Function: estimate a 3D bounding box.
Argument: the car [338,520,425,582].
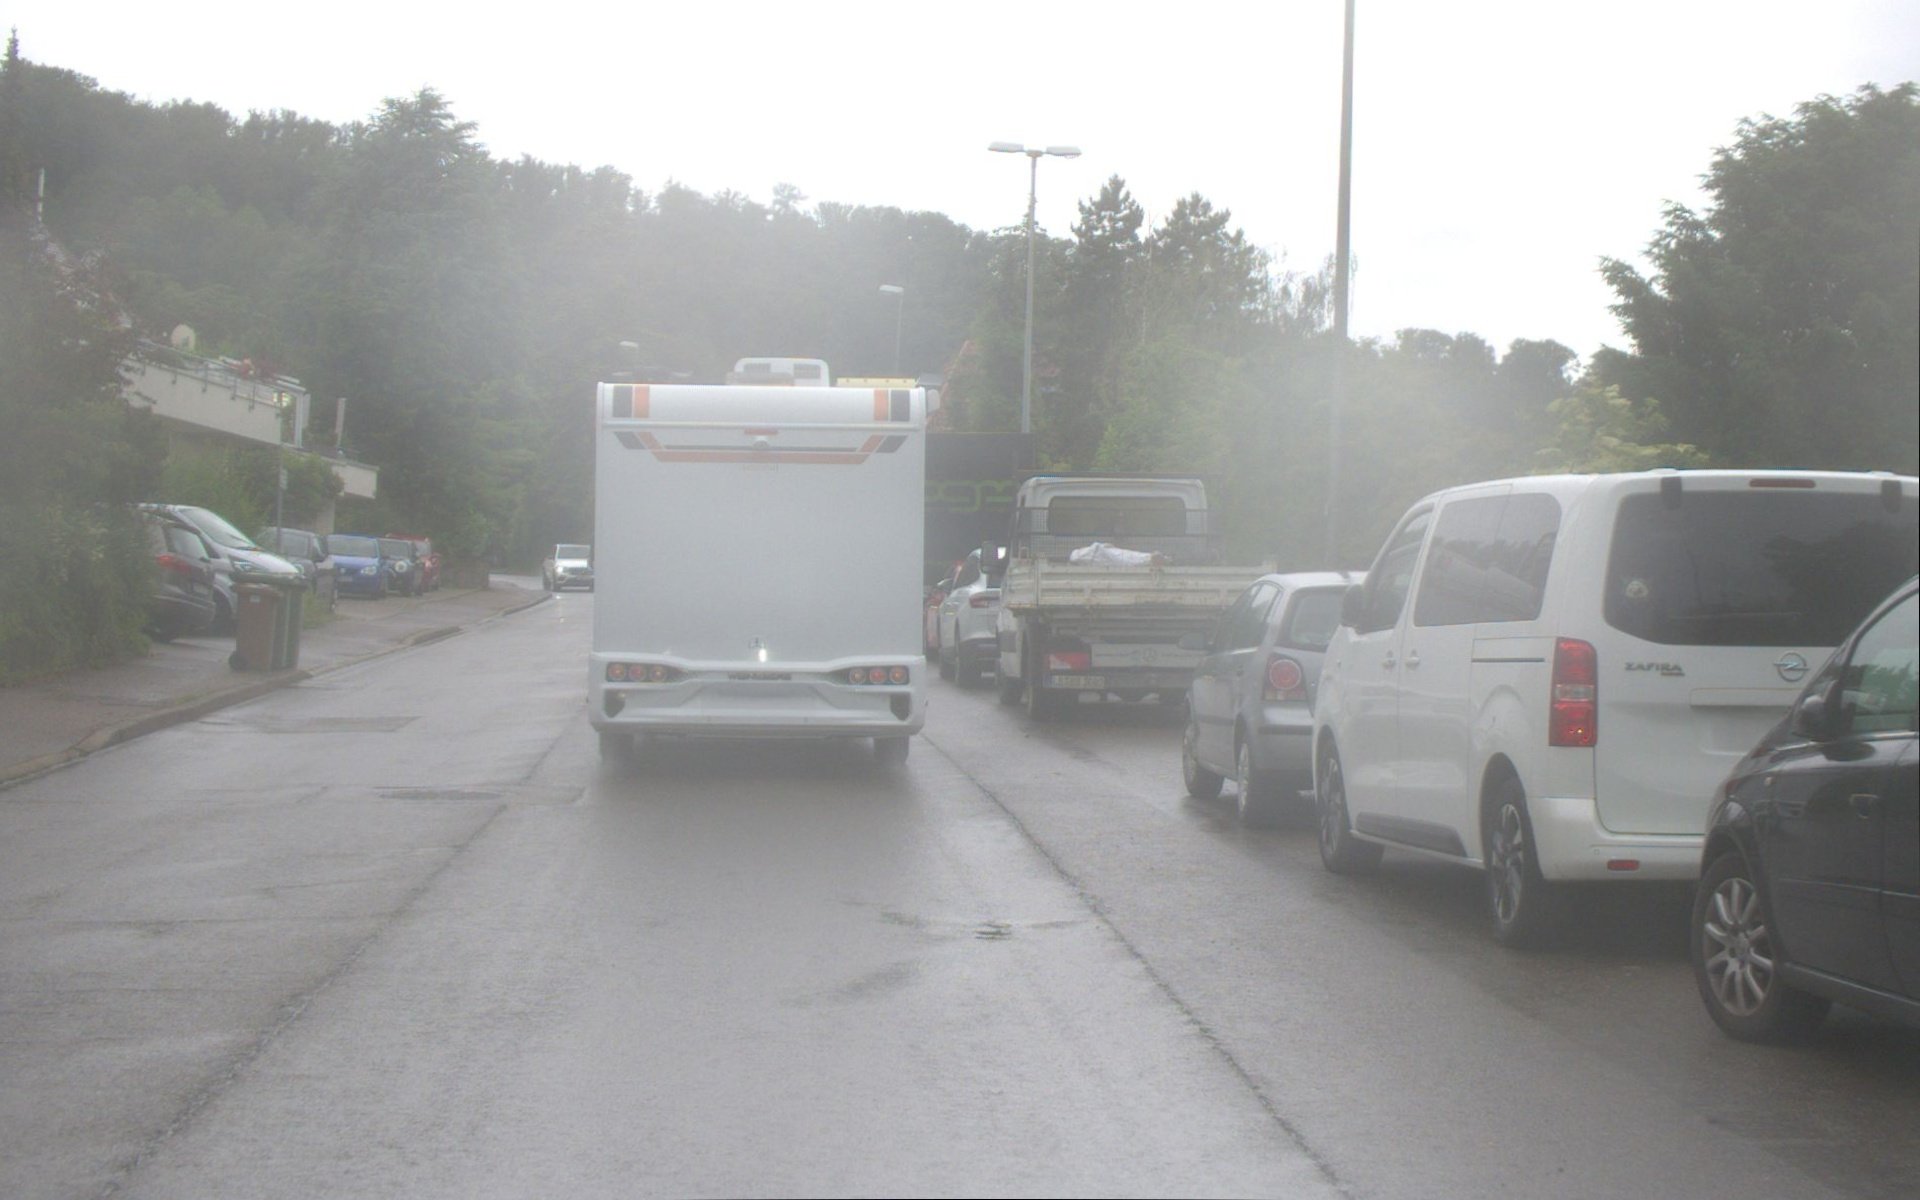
[{"bbox_3d":[-14.526,-1.232,86.484,1.633,1.391,4.239,5,0,-4],"label":"car"}]

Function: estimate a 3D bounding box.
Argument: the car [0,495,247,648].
[{"bbox_3d":[-11.381,-0.414,43.608,4.056,1.686,1.893,5,0,10],"label":"car"}]

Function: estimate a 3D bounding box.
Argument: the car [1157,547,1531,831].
[{"bbox_3d":[2.231,0.477,20.925,1.647,1.558,3.964,0,0,-3],"label":"car"}]

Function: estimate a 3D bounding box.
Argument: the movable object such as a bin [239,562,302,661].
[{"bbox_3d":[-7.636,0.122,38.090,0.602,1.060,0.638,2,1,-8],"label":"movable object such as a bin"}]

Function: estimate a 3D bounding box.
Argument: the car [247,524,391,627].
[{"bbox_3d":[-11.511,-0.462,61.976,1.689,1.583,4.197,8,1,-1],"label":"car"}]

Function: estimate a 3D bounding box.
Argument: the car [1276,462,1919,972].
[{"bbox_3d":[2.805,0.420,15.181,1.848,1.875,4.912,0,0,-6],"label":"car"}]

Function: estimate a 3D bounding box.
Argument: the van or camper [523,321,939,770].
[{"bbox_3d":[-1.679,-0.314,25.631,2.615,2.843,6.031,2,-1,-3],"label":"van or camper"}]

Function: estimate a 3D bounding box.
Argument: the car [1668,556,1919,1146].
[{"bbox_3d":[3.304,0.656,9.345,1.644,1.535,4.354,0,0,-3],"label":"car"}]

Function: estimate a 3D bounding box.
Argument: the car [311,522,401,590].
[{"bbox_3d":[-14.102,-1.049,80.465,1.607,1.429,3.960,5,1,-5],"label":"car"}]

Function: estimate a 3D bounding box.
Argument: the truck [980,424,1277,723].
[{"bbox_3d":[1.504,-0.250,33.572,2.239,2.622,6.539,0,0,-3],"label":"truck"}]

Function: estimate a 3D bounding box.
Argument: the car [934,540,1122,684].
[{"bbox_3d":[0.738,0.121,40.691,1.759,1.599,4.667,0,0,-5],"label":"car"}]

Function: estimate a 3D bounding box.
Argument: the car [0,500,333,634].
[{"bbox_3d":[-12.282,-0.507,51.951,5.087,1.938,2.140,1,0,13],"label":"car"}]

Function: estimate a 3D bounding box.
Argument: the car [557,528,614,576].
[{"bbox_3d":[-13.114,-1.690,120.613,1.905,1.602,4.429,2,1,-6],"label":"car"}]

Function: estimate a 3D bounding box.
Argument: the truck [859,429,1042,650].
[{"bbox_3d":[-0.256,-0.945,56.060,2.436,3.324,7.966,0,0,-4],"label":"truck"}]

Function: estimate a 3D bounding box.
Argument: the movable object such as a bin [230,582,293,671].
[{"bbox_3d":[-7.573,0.283,37.290,0.602,0.925,0.564,2,1,-8],"label":"movable object such as a bin"}]

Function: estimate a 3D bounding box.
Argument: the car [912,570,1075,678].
[{"bbox_3d":[0.418,0.307,48.524,1.831,1.433,4.987,0,0,-5],"label":"car"}]

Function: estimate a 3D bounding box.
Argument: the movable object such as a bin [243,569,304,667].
[{"bbox_3d":[-7.730,0.198,38.731,0.602,1.060,0.698,2,1,-8],"label":"movable object such as a bin"}]
